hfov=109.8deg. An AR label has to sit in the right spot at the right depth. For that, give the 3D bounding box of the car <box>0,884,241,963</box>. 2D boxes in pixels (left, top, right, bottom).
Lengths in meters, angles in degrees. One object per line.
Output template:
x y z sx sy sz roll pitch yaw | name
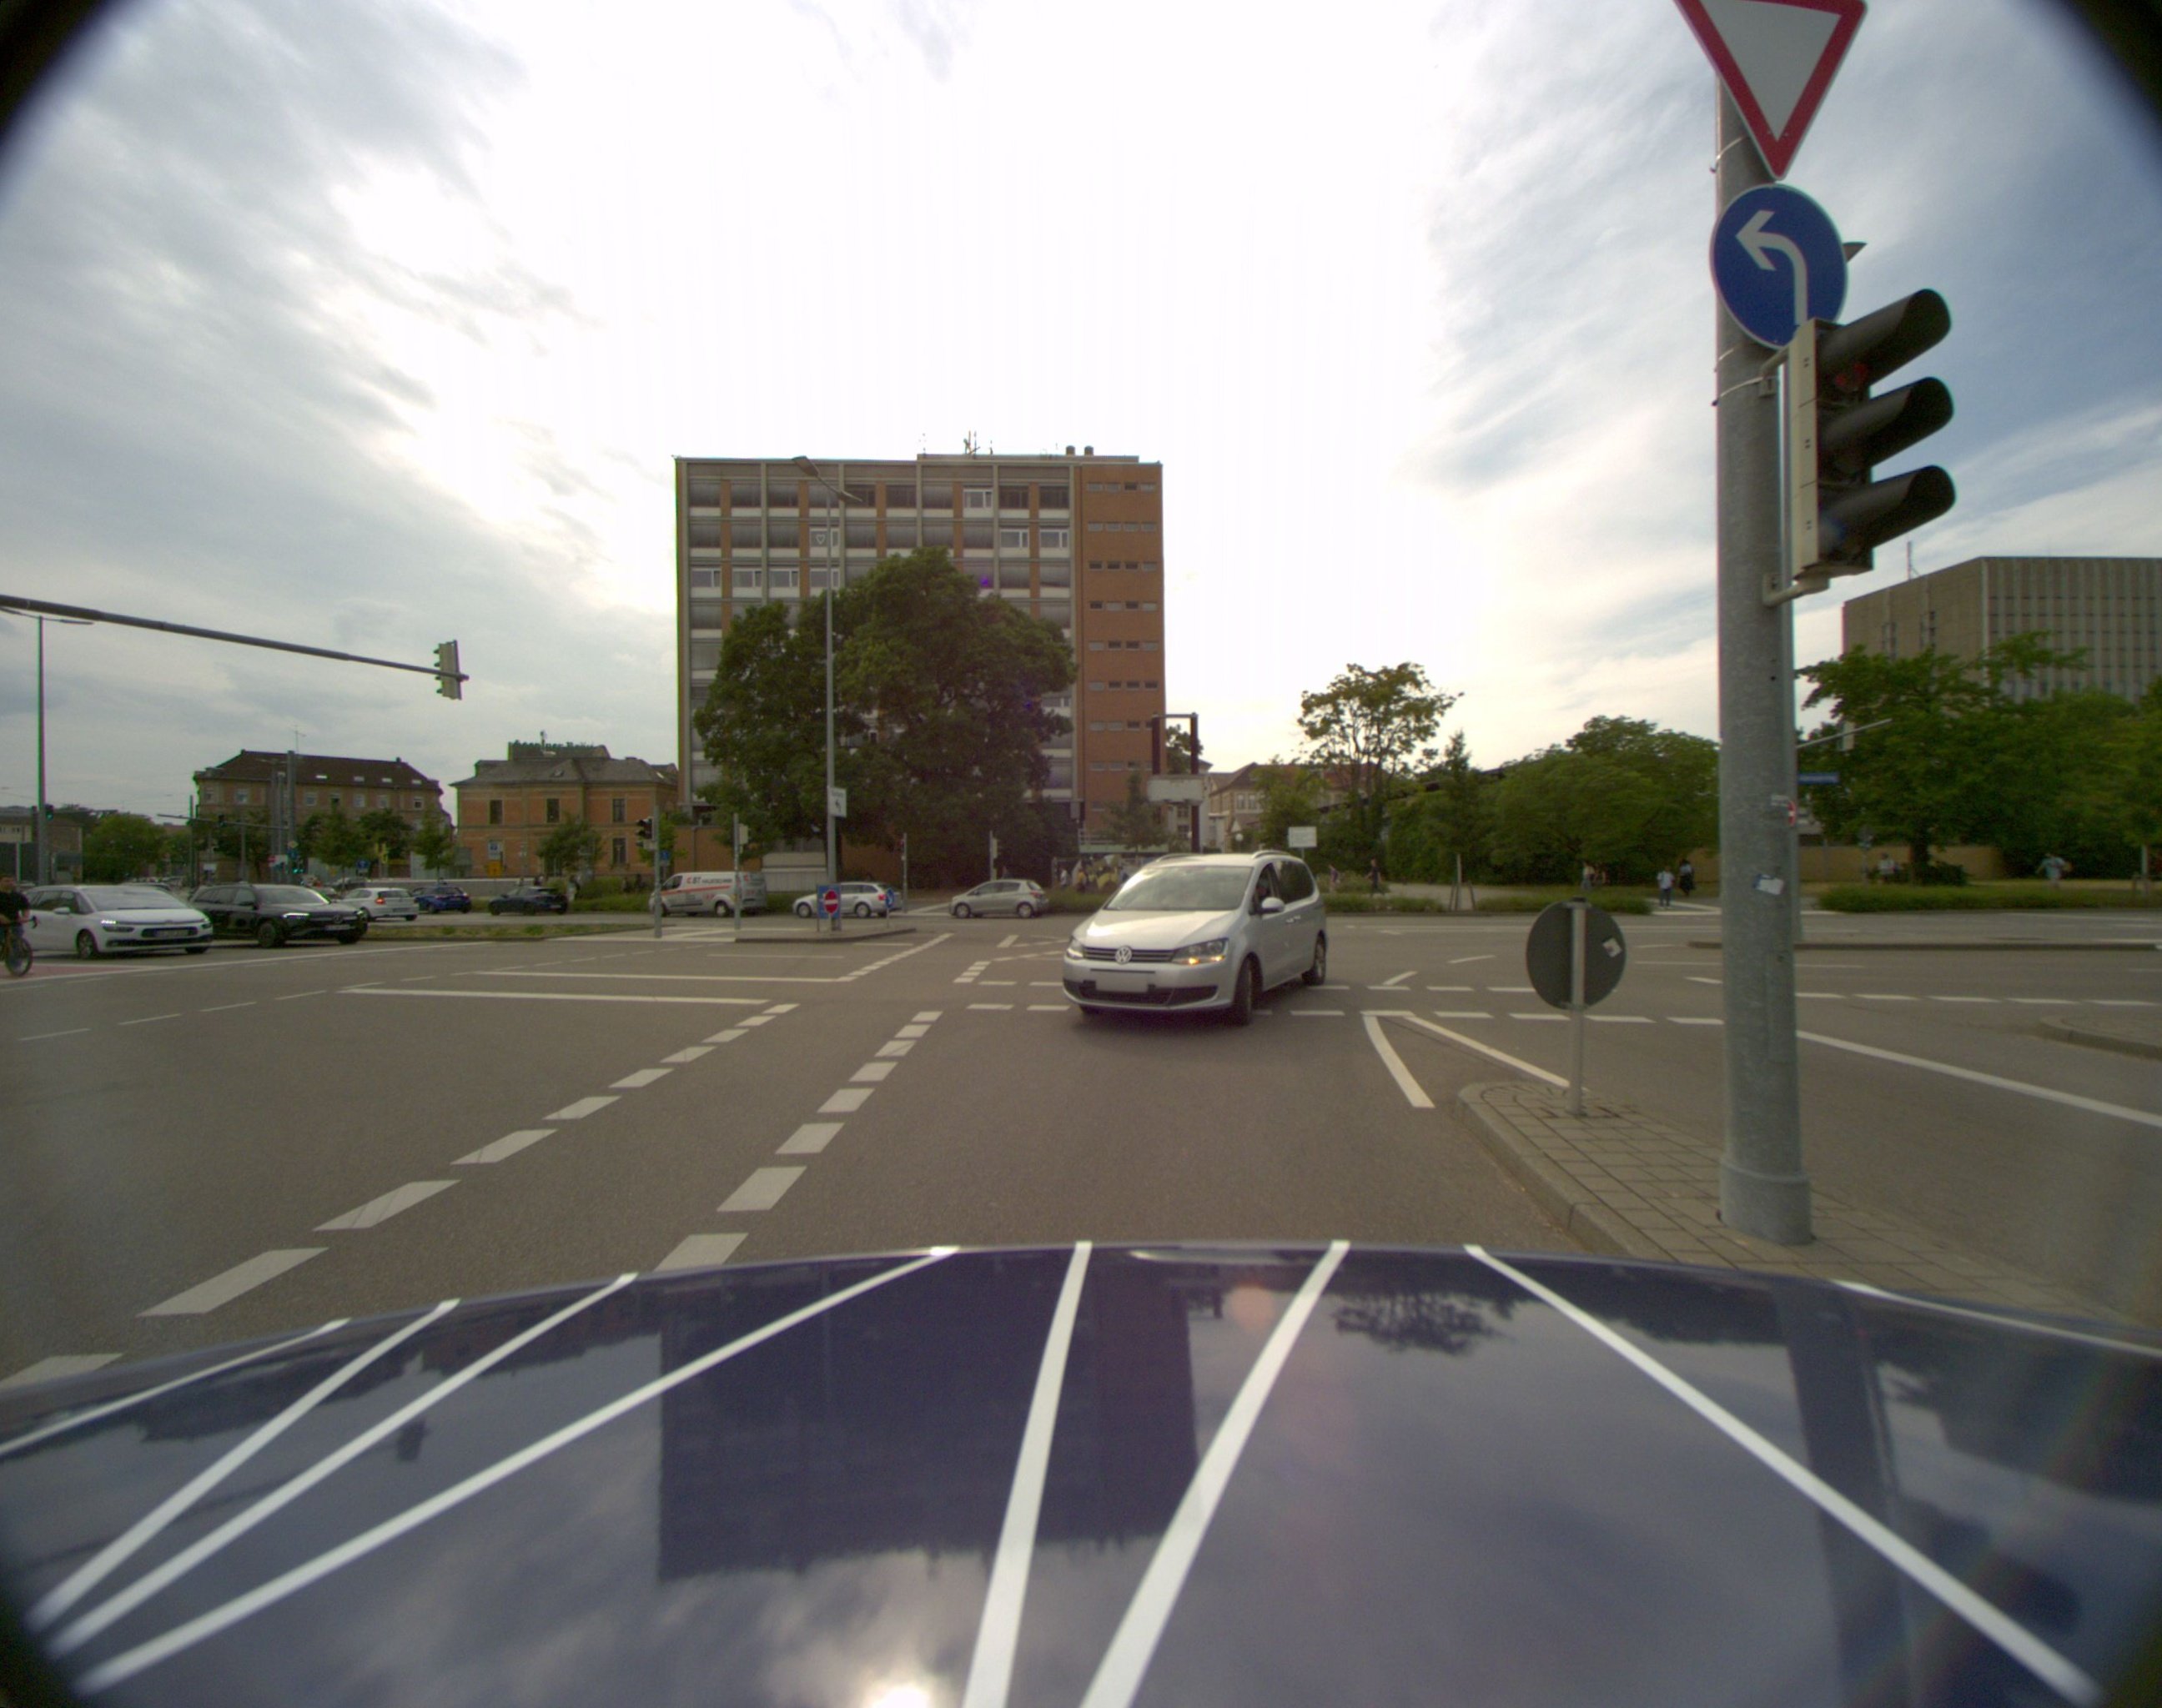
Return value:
-22.127 1.562 17.514 4.282 1.640 2.003 -2 -2 16 | car

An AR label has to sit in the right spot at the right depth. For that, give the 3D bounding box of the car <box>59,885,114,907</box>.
-77.682 3.272 59.360 3.537 1.605 1.844 -2 -2 25 | car

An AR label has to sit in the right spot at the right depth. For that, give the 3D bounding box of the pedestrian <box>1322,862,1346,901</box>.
11.135 1.227 33.493 0.799 1.700 0.840 -1 -2 5 | pedestrian

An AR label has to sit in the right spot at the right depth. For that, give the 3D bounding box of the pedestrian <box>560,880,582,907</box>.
-30.542 2.346 45.525 0.810 1.565 0.782 -1 1 28 | pedestrian

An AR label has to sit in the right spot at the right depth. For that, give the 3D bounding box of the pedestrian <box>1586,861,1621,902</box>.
21.849 1.150 31.765 0.800 1.700 0.839 -1 -2 -13 | pedestrian

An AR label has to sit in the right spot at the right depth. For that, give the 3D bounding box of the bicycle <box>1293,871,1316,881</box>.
16.315 1.637 55.472 0.843 0.689 1.844 -1 -2 -9 | bicycle

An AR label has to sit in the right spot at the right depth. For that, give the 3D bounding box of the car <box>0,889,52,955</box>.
-29.160 1.752 19.417 4.282 1.640 2.003 -2 -2 16 | car

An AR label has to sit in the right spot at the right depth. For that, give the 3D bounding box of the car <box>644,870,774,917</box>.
-16.273 1.744 33.249 5.195 1.947 1.828 -2 -2 16 | car

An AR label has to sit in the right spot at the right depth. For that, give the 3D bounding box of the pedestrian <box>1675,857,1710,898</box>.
25.510 0.989 31.703 0.799 1.700 0.715 -1 -2 -1 | pedestrian

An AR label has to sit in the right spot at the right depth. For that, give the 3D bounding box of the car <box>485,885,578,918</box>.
-26.957 2.349 37.287 3.993 1.523 1.867 -2 -2 21 | car

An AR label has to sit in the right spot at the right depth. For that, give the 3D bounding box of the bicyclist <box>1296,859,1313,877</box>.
16.313 1.035 55.439 0.840 1.269 1.012 -1 -2 -9 | bicyclist

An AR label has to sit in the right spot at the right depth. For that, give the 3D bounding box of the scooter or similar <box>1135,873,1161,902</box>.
3.225 1.603 36.743 1.148 1.361 0.399 -1 -2 -8 | scooter or similar

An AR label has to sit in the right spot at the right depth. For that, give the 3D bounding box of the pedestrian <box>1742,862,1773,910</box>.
24.151 1.149 27.133 0.587 1.700 0.481 -1 -2 7 | pedestrian

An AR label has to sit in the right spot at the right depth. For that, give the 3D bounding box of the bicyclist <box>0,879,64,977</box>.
-18.637 1.272 13.177 0.879 1.658 0.871 -1 -2 11 | bicyclist

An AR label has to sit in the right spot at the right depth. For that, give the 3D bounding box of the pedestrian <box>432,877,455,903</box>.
-40.065 2.267 47.757 0.810 1.565 0.782 -1 1 28 | pedestrian

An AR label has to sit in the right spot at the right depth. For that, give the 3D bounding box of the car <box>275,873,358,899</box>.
-44.553 1.873 44.281 3.692 1.411 2.143 -2 -2 22 | car

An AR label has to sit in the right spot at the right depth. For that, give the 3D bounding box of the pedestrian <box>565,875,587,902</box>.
-30.950 2.107 46.578 0.810 1.565 0.782 -1 1 28 | pedestrian

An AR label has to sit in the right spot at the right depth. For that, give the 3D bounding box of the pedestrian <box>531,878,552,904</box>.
-33.786 2.283 47.576 0.810 1.565 0.782 -1 1 28 | pedestrian

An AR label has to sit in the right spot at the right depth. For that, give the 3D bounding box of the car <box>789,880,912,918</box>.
-9.413 1.829 31.110 4.520 1.465 1.828 -2 -2 13 | car

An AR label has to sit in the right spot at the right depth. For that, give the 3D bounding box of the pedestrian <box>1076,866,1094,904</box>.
0.178 1.403 34.812 0.707 1.701 0.640 -1 1 5 | pedestrian

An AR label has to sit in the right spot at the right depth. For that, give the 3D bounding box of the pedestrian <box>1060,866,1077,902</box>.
-0.583 1.413 36.482 0.707 1.701 0.640 -1 0 5 | pedestrian

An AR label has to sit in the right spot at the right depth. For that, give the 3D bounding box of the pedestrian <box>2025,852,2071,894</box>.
39.373 0.777 30.942 0.694 1.700 0.842 -1 -2 -1 | pedestrian

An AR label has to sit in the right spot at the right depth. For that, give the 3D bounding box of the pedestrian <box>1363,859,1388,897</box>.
13.353 1.089 34.463 0.799 1.700 0.840 -1 -2 5 | pedestrian

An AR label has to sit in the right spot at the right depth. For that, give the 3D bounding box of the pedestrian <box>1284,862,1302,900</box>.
9.619 1.225 34.470 0.633 1.700 0.674 -1 -2 5 | pedestrian

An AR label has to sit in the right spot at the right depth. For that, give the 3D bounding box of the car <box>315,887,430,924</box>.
-29.699 2.162 31.863 4.214 1.449 1.763 -2 -2 19 | car

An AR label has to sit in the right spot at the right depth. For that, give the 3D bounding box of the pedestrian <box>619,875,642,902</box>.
-26.336 2.011 44.416 0.810 1.565 0.782 -1 1 28 | pedestrian

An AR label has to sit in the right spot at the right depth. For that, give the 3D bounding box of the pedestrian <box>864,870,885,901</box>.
-10.651 1.624 39.203 0.811 1.565 0.780 -1 1 5 | pedestrian

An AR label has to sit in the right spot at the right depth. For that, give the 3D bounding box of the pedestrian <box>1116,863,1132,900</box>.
2.044 1.318 36.003 0.707 1.701 0.640 -1 2 5 | pedestrian

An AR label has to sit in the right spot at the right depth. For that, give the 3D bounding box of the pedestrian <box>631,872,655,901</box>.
-24.656 1.815 42.789 0.810 1.565 0.781 -1 1 24 | pedestrian

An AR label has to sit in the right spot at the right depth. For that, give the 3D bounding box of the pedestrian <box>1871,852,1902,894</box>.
33.145 0.780 31.275 0.694 1.686 0.544 -1 2 -1 | pedestrian

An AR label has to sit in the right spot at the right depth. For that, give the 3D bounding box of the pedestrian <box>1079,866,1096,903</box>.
0.291 1.425 35.599 0.707 1.700 0.640 -1 -2 5 | pedestrian

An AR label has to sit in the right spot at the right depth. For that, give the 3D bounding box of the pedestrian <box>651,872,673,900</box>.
-24.242 1.857 43.965 0.810 1.565 0.781 -1 1 24 | pedestrian

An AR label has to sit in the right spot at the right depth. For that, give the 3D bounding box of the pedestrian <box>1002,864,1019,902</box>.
-3.452 1.429 37.287 0.707 1.841 0.640 -1 0 5 | pedestrian

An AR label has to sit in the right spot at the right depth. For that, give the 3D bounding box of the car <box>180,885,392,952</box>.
-20.987 1.674 20.109 4.503 1.640 2.003 -2 -2 16 | car

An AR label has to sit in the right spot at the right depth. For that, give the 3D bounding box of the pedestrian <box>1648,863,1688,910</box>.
21.681 1.186 28.080 0.838 1.700 0.800 -1 -2 7 | pedestrian

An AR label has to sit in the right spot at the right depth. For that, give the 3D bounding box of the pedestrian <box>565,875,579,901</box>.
-30.553 2.038 45.601 0.550 1.528 0.548 -2 1 -18 | pedestrian

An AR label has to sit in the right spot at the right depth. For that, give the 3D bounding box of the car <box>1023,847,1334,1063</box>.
1.398 0.897 8.492 1.820 1.723 4.538 -2 -3 30 | car

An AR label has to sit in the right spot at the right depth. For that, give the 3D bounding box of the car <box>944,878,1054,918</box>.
-3.168 1.704 29.599 3.869 1.480 1.674 -2 -2 14 | car

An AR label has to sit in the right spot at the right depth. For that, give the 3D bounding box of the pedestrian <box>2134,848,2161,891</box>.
43.223 0.637 30.544 0.694 1.700 0.715 -1 -2 2 | pedestrian

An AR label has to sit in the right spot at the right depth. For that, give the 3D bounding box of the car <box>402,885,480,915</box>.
-33.588 2.404 39.874 3.626 1.498 1.675 -2 -2 23 | car

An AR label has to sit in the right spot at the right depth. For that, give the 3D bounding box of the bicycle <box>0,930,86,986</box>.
-18.838 1.786 13.200 2.515 0.871 0.866 -2 -2 11 | bicycle

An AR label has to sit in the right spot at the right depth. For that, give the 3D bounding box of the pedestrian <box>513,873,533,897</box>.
-37.003 2.070 50.396 0.810 1.565 0.782 -1 1 28 | pedestrian

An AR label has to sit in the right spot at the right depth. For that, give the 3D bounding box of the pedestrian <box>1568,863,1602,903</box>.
21.670 1.245 32.659 0.800 1.700 0.839 -1 -2 -13 | pedestrian

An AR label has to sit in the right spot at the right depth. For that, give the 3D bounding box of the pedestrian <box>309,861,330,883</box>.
-53.270 1.257 53.165 0.810 1.565 0.782 -1 1 28 | pedestrian
